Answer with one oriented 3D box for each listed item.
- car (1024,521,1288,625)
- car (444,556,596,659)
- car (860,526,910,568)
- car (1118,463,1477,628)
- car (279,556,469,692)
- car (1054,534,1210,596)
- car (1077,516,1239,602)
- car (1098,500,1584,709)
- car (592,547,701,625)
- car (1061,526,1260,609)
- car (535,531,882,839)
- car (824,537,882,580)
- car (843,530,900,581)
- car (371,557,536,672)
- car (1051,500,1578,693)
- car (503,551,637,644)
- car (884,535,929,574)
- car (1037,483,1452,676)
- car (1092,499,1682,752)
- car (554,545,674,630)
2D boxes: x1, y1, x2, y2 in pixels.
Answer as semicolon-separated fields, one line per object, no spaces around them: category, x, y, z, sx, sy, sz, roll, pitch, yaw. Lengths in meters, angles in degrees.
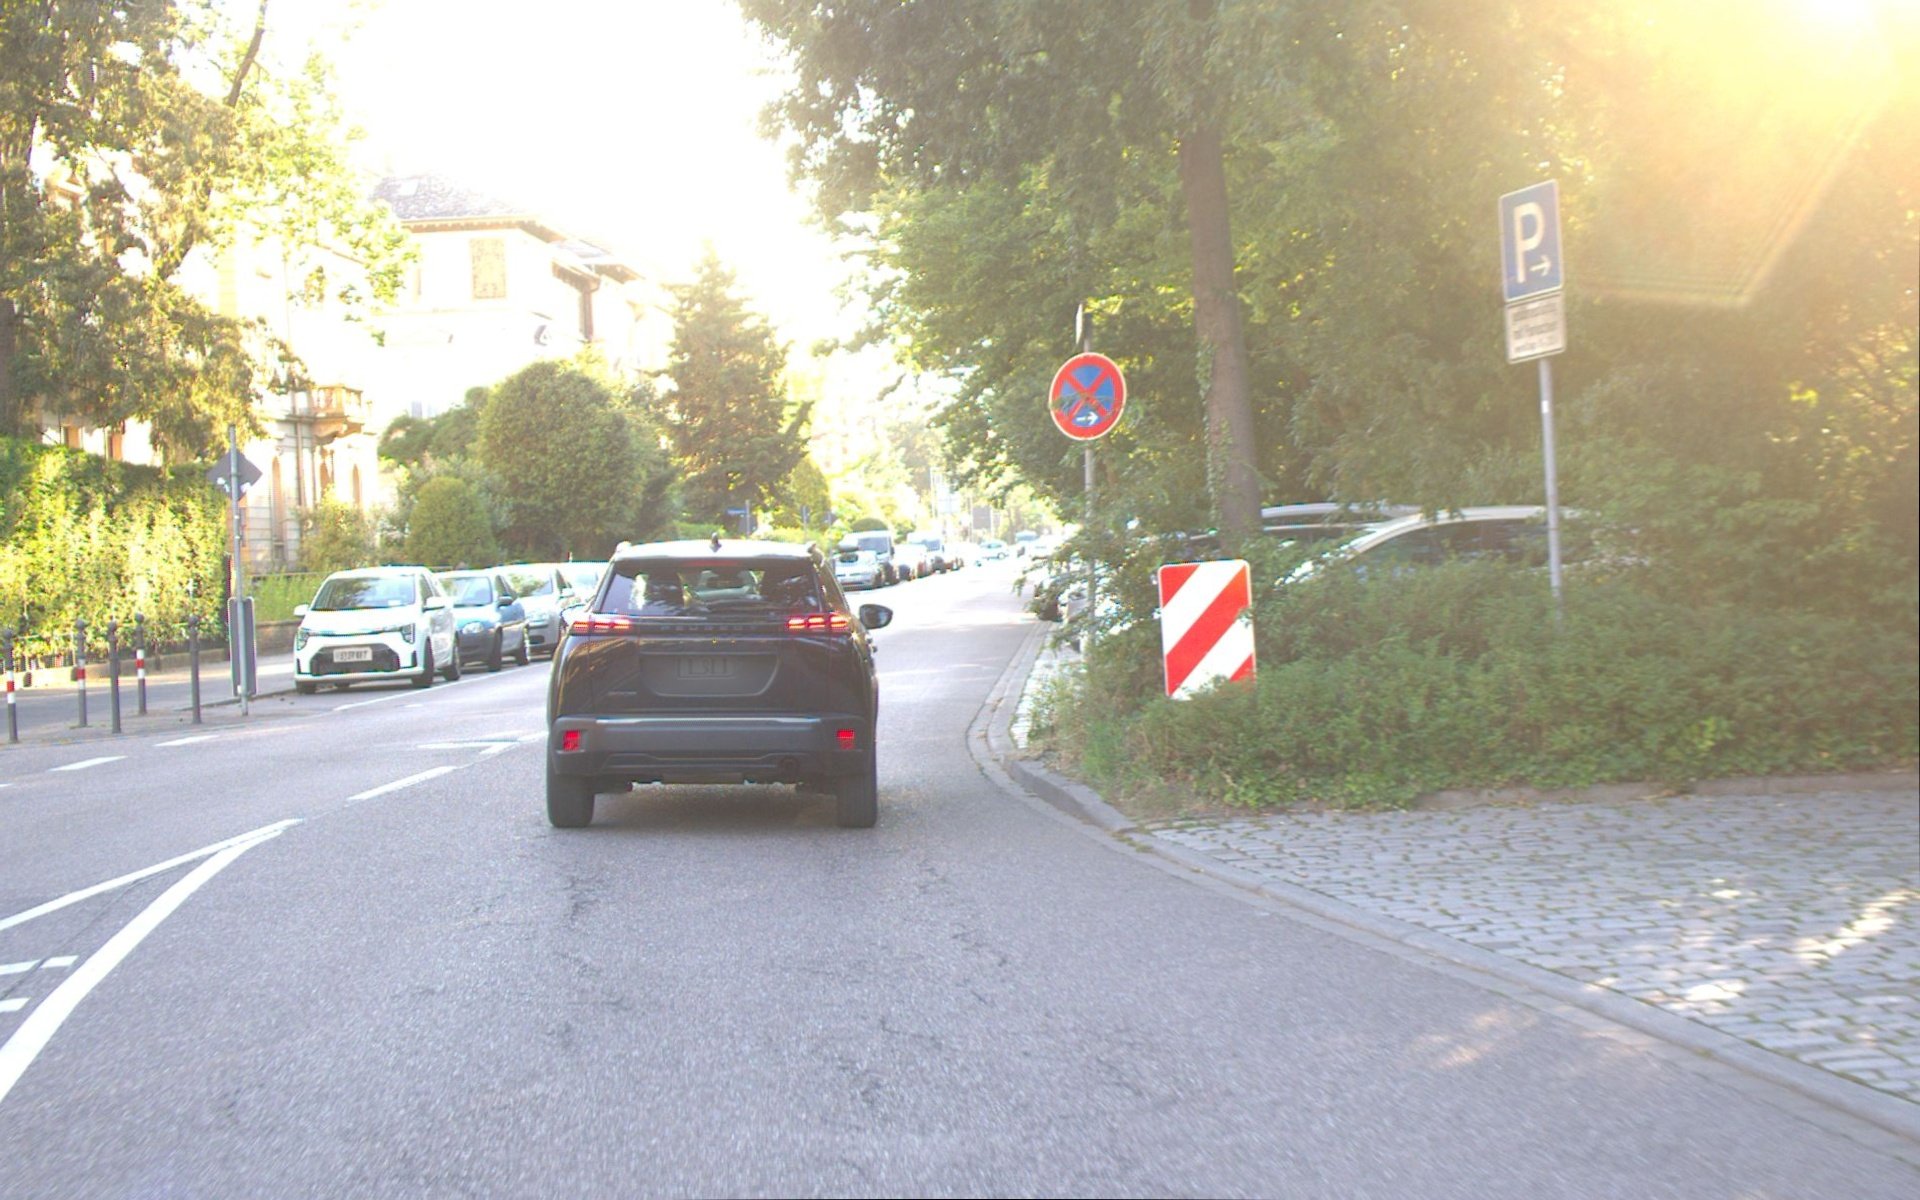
car;3.251;-0.456;57.742;4.242;1.444;2.021;-4;1;0
car;-6.762;0.086;53.118;1.614;1.461;4.036;-3;1;2
car;-3.322;-2.373;153.128;1.993;1.762;4.000;-2;1;1
car;3.865;-0.613;39.928;3.987;1.550;1.725;-3;-6;2
car;-7.227;0.261;42.726;1.613;1.510;3.712;-4;1;0
car;4.606;-0.943;92.297;3.986;1.520;1.758;-2;1;-3
car;5.125;-1.069;89.460;3.986;2.082;1.758;-2;1;-3
car;3.228;0.013;29.688;3.987;1.549;1.752;-3;2;2
car;-6.267;-0.304;69.075;1.614;1.461;4.036;-3;1;2
car;4.058;-0.666;69.966;3.807;1.444;1.826;-4;1;-2
car;-1.449;0.401;19.744;1.771;1.563;4.109;0;1;-4
car;-4.056;-1.580;130.802;1.899;1.568;4.000;-2;1;2
car;-3.614;-1.842;141.263;1.994;2.007;4.000;-2;1;3
car;-7.091;0.177;48.440;1.614;1.480;3.742;-3;1;1
car;3.268;-0.061;32.015;4.483;1.549;1.857;-3;1;-11
car;-6.645;-0.065;58.890;1.614;1.461;4.036;-3;1;2
car;-2.603;-2.255;168.897;1.993;1.809;4.000;-2;1;2
car;3.047;-0.231;37.604;4.307;1.798;2.035;-4;1;1
car;2.974;0.154;24.595;3.987;1.549;1.725;-3;2;2
car;-6.439;-0.252;64.341;1.614;1.461;4.036;-3;1;2
